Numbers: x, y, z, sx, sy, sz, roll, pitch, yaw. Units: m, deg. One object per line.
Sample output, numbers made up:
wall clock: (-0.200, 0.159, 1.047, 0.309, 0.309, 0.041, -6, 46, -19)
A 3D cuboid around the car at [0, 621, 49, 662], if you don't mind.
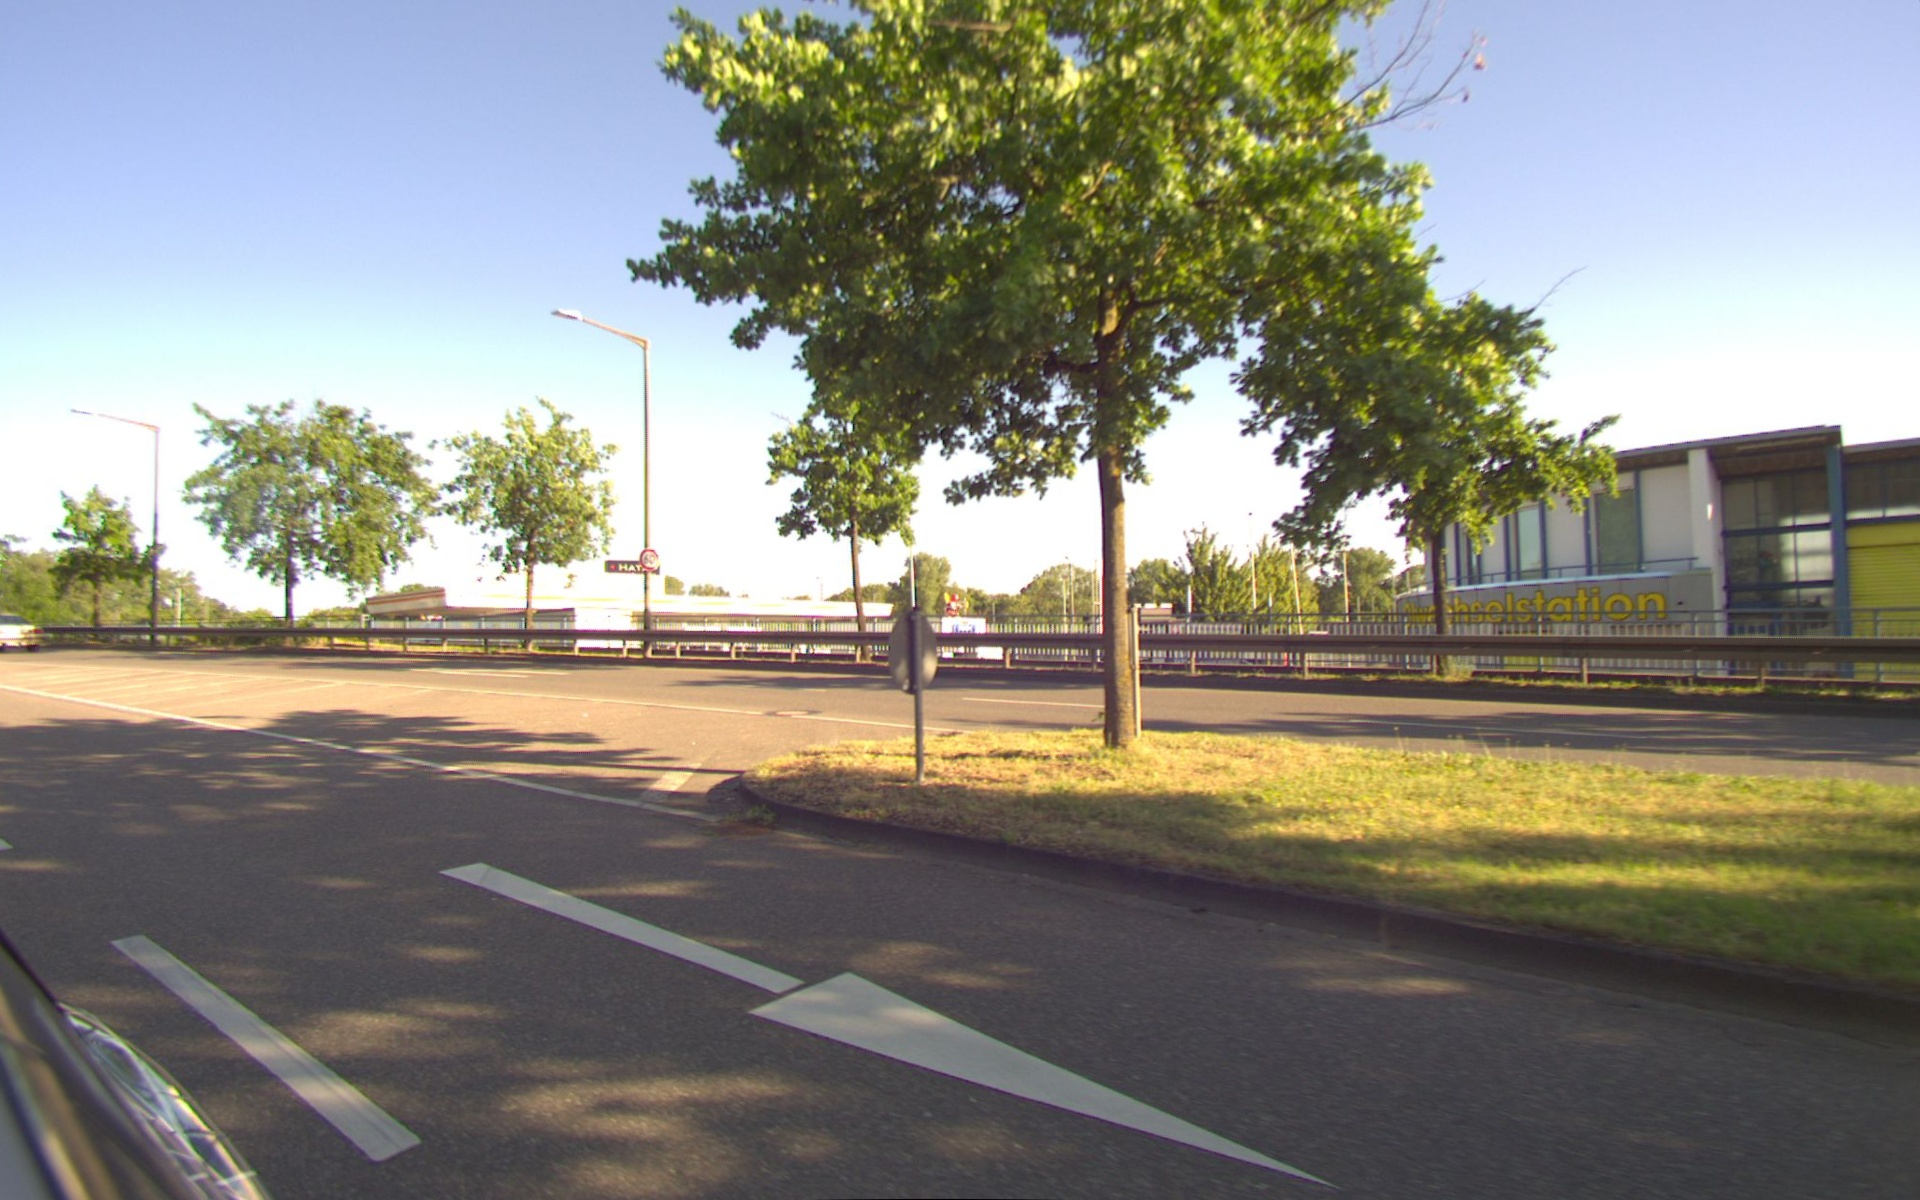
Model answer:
car: (-34.787, 1.463, 36.240, 4.473, 1.396, 1.720, -1, -1, 27)
